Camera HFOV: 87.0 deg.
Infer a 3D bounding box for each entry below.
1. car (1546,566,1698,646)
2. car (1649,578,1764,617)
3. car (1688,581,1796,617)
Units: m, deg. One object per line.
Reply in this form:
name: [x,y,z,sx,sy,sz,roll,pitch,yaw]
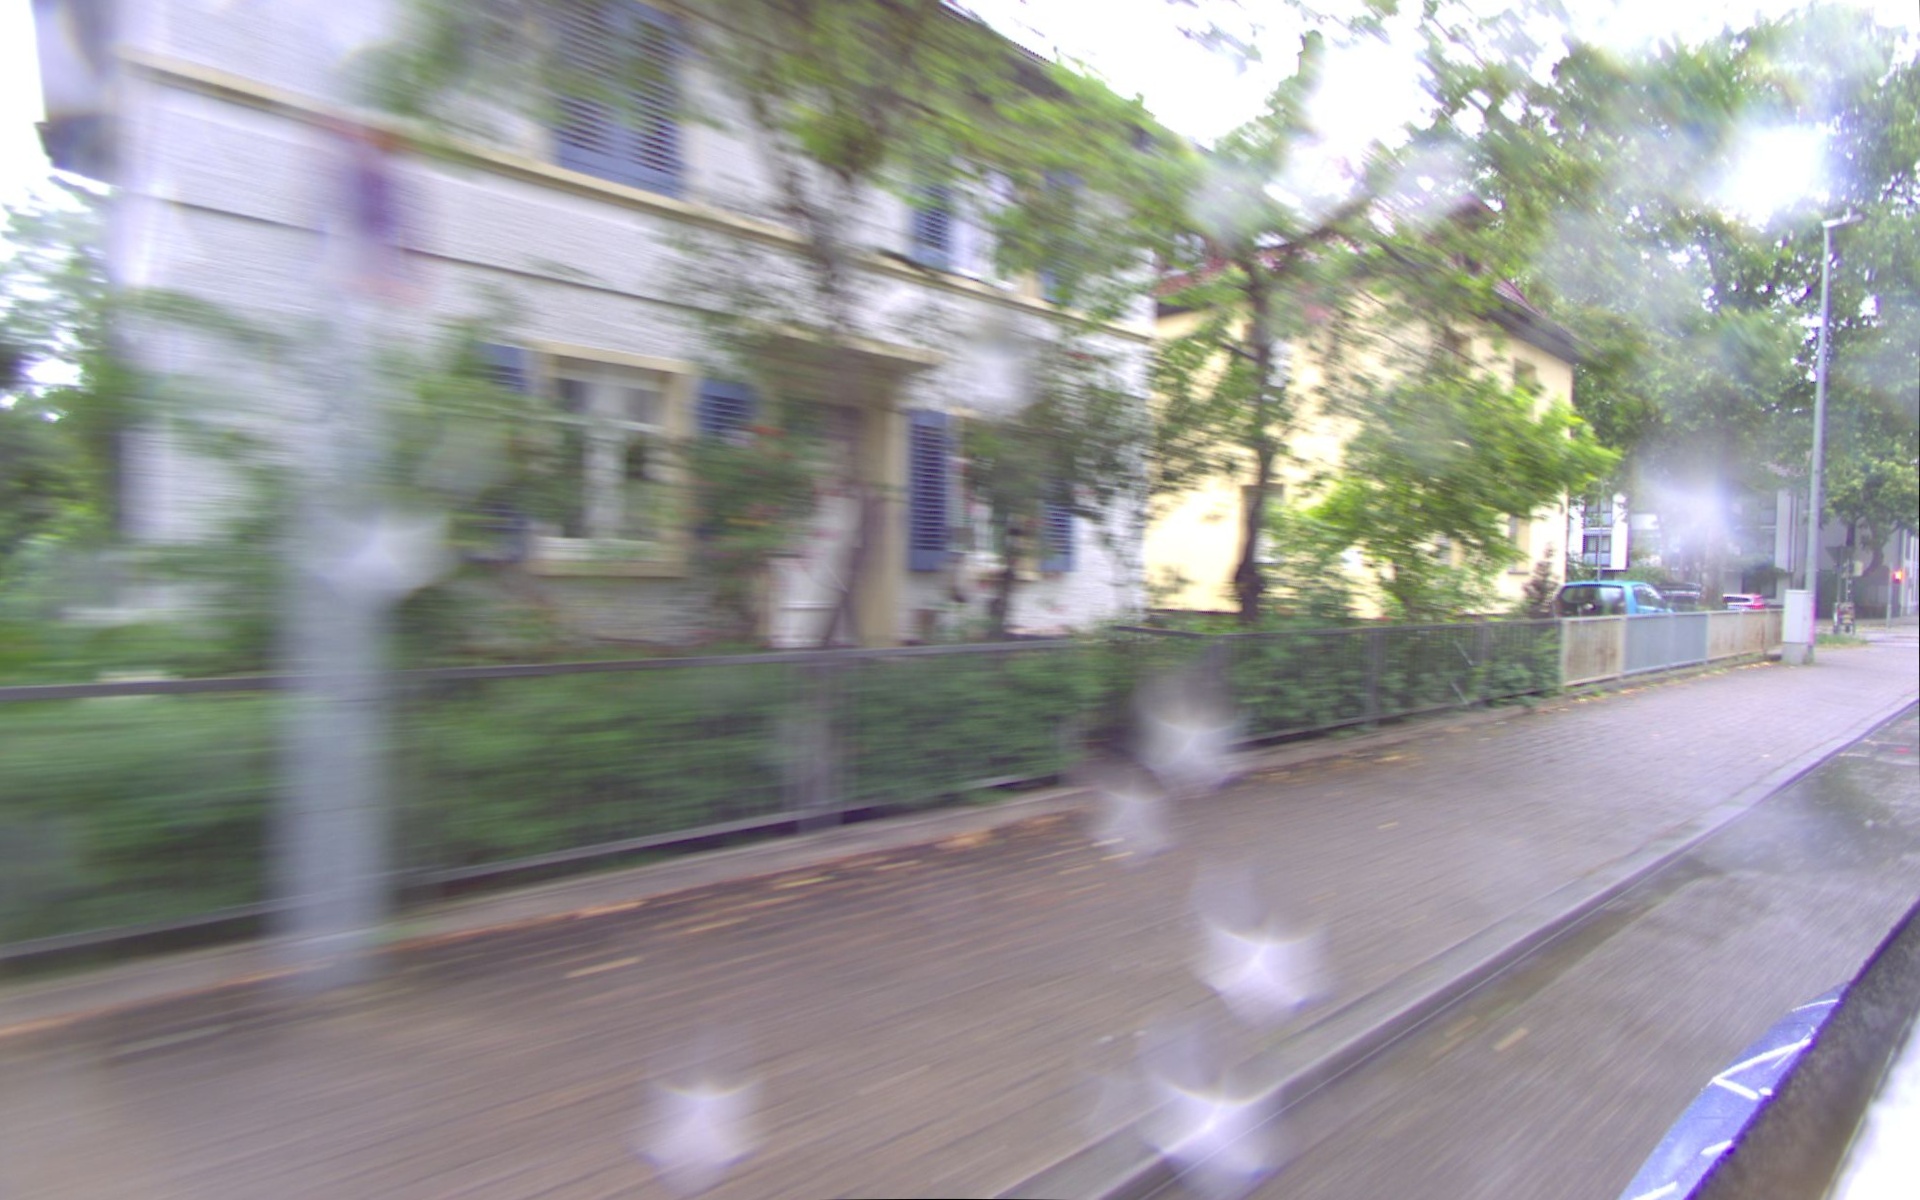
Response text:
car: [13.644,0.065,20.818,3.463,1.489,1.673,-1,2,-40]
car: [35.596,-0.170,48.321,4.215,1.708,1.683,2,2,44]
car: [40.465,-0.092,52.440,1.762,1.629,4.091,0,3,-38]
